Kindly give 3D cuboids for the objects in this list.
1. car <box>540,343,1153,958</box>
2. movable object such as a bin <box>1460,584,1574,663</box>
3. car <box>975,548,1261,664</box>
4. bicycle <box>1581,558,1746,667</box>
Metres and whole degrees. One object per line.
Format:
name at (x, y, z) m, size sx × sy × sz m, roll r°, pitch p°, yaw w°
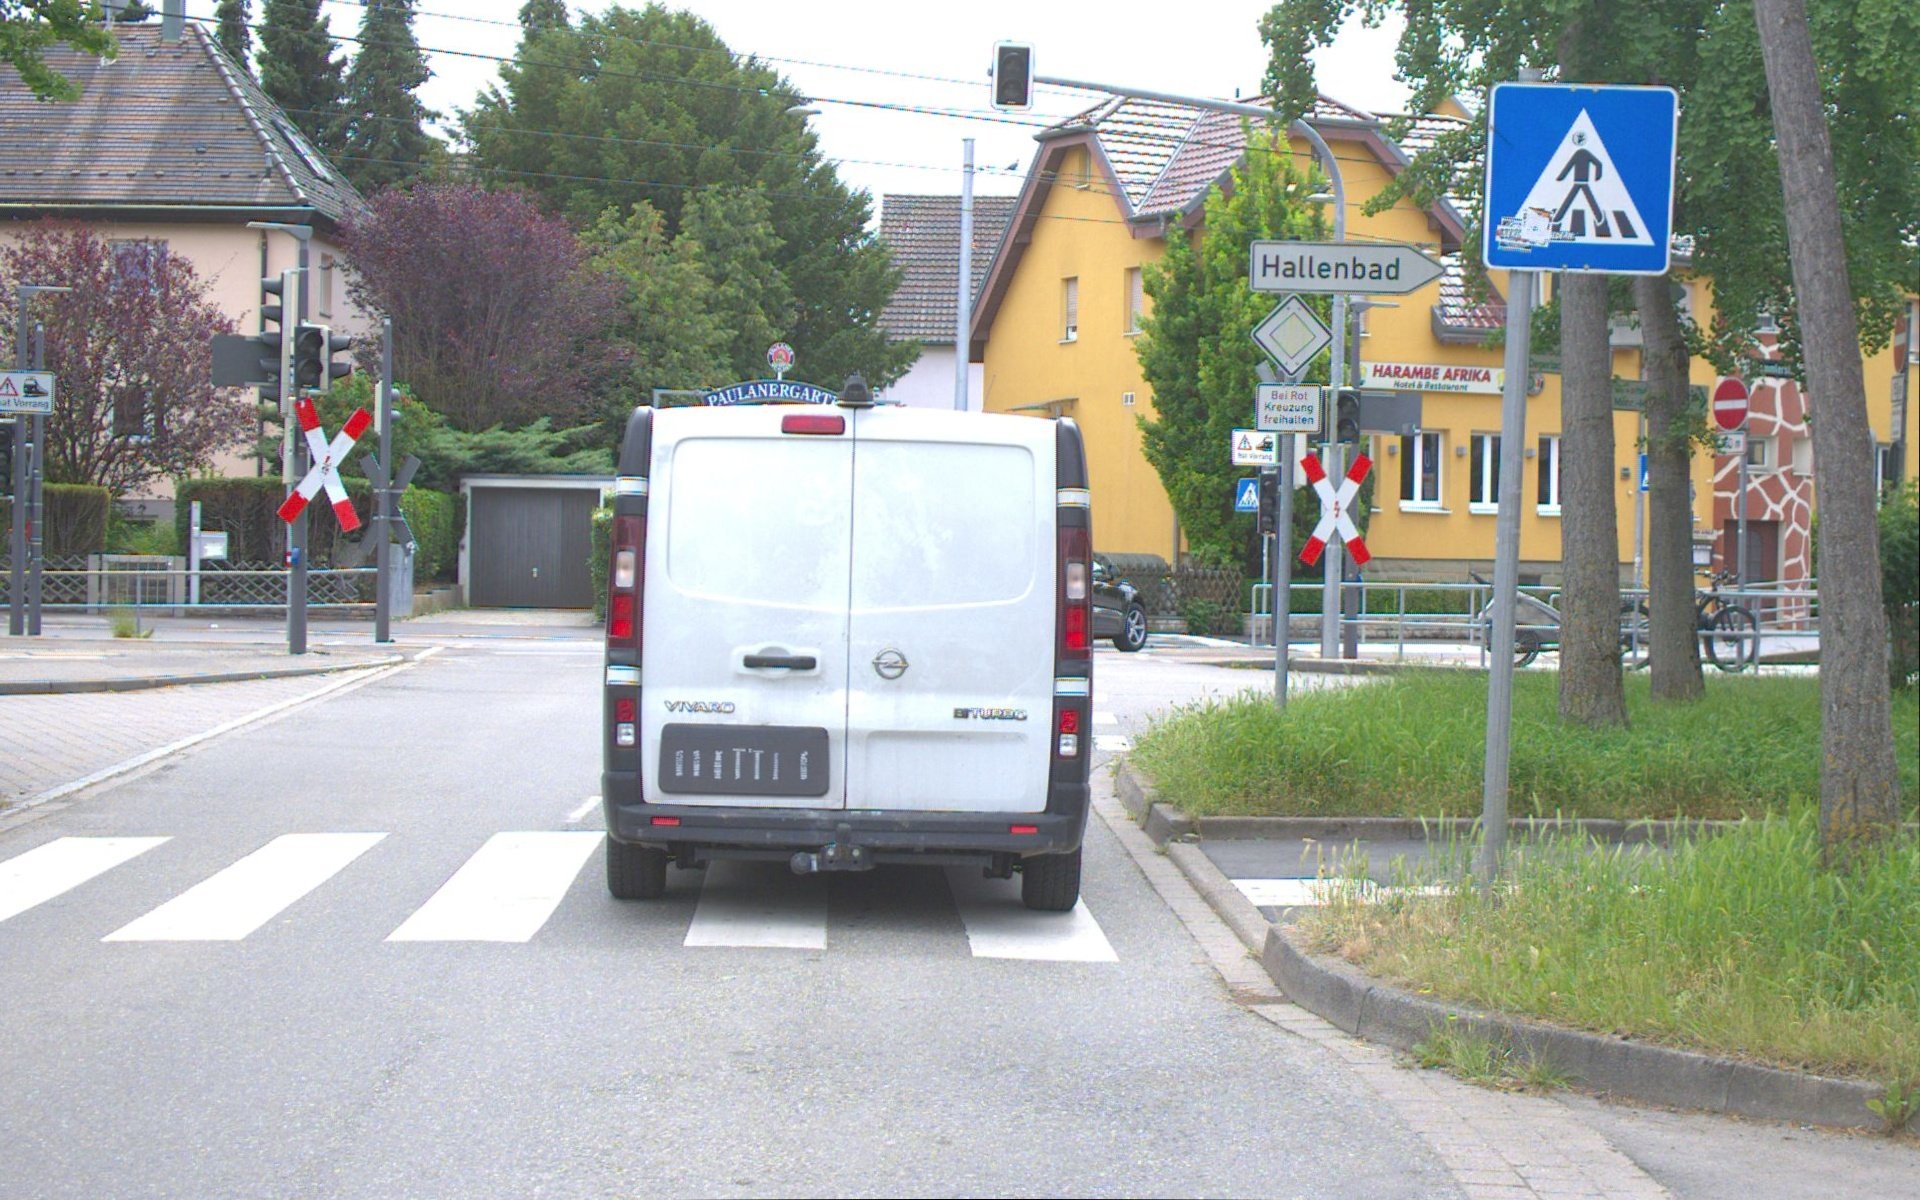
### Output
car at (-0.548, 0.134, 14.990) m, size 2.116 × 2.127 × 5.441 m, roll 2°, pitch 1°, yaw -3°
movable object such as a bin at (6.071, 0.250, 37.476) m, size 1.091 × 0.822 × 0.579 m, roll 2°, pitch 0°, yaw -6°
car at (2.408, 0.102, 51.323) m, size 2.360 × 1.559 × 4.364 m, roll 3°, pitch 1°, yaw 32°
bicycle at (7.692, 0.135, 37.596) m, size 1.686 × 1.152 × 0.467 m, roll 1°, pitch 0°, yaw -9°
